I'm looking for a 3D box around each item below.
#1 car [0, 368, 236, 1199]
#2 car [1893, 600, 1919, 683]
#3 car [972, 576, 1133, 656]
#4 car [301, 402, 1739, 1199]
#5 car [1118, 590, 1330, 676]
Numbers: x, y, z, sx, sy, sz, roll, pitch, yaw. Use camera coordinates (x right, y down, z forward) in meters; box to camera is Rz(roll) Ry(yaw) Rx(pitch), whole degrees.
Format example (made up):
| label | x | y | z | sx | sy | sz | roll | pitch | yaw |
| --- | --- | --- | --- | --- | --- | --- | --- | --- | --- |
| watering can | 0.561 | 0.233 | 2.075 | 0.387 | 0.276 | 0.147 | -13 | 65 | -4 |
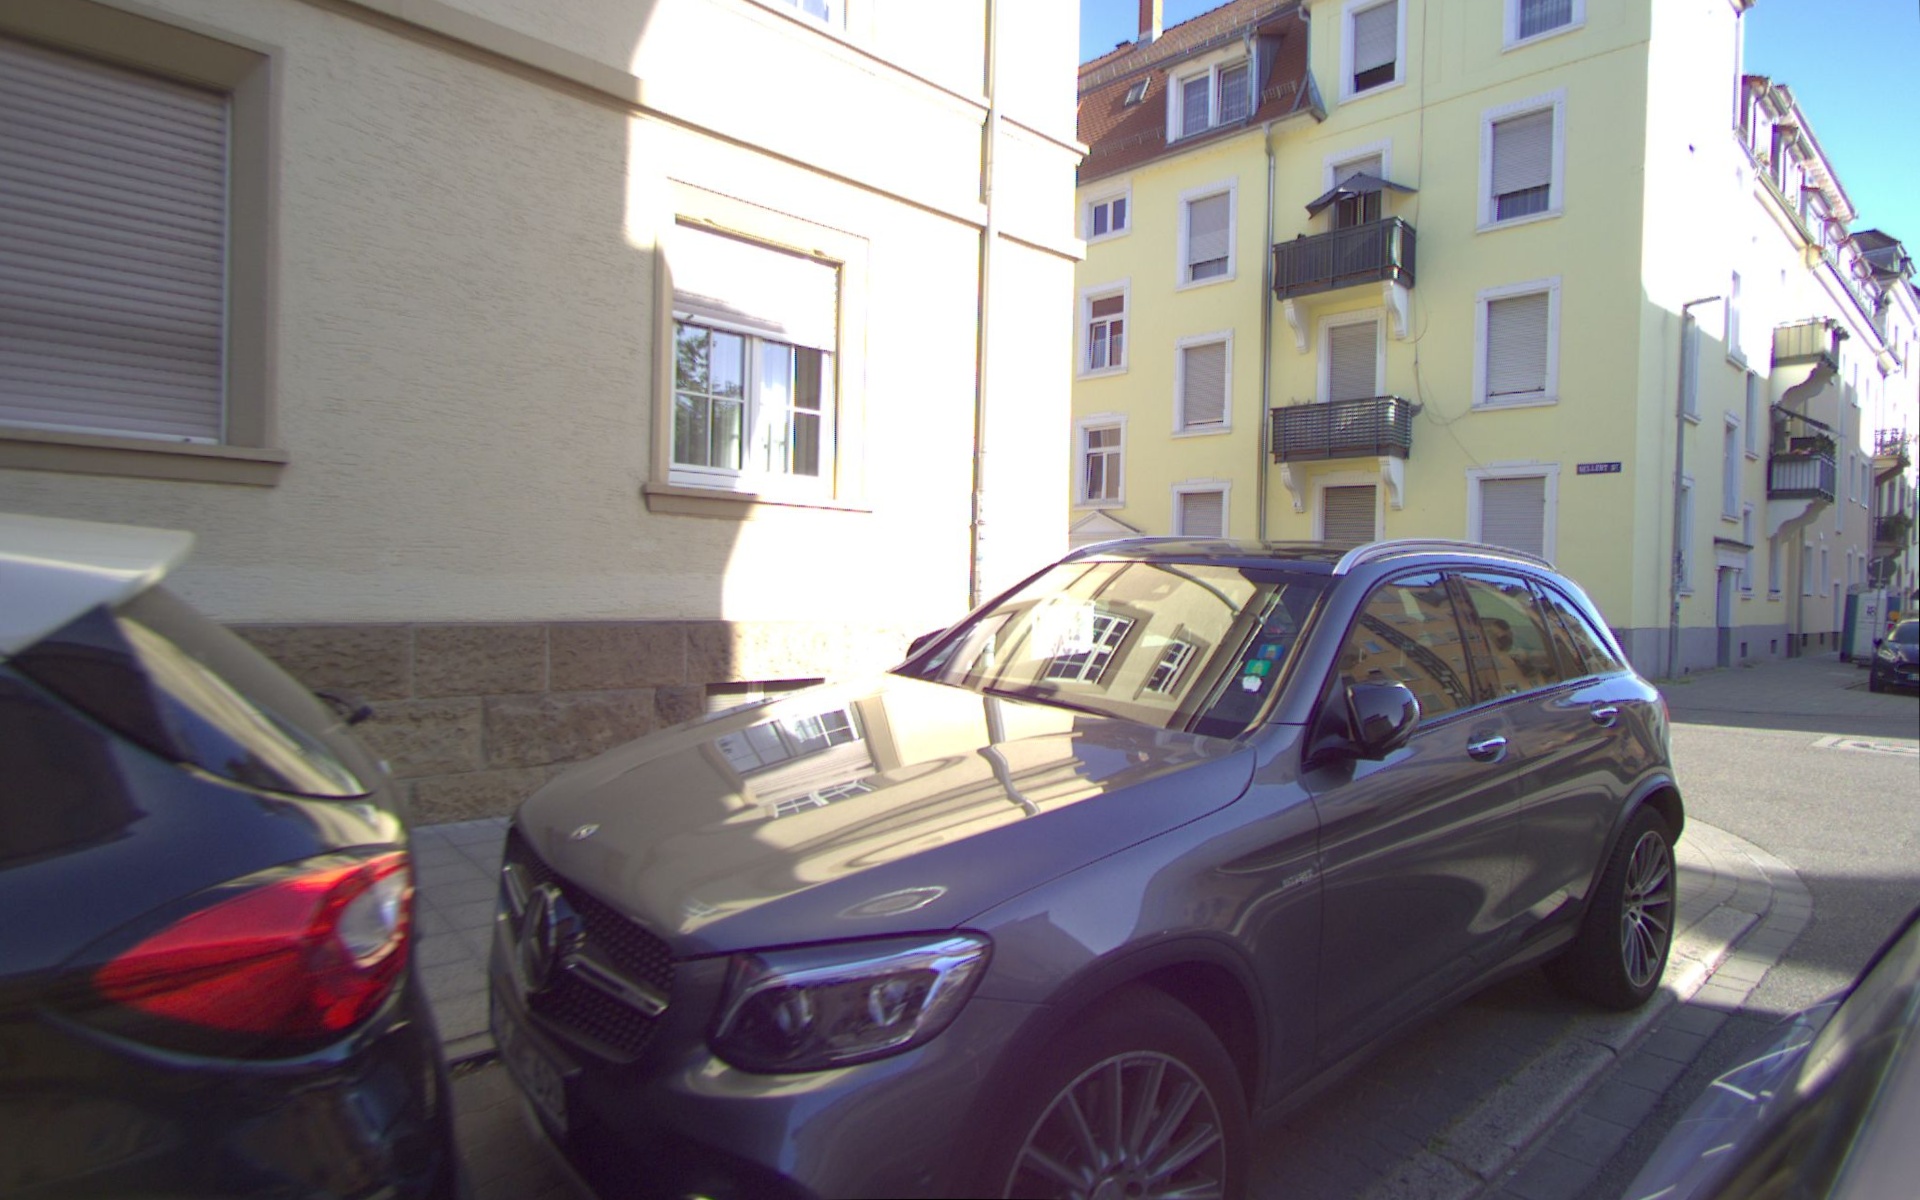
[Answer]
| label | x | y | z | sx | sy | sz | roll | pitch | yaw |
| --- | --- | --- | --- | --- | --- | --- | --- | --- | --- |
| car | -2.681 | 0.538 | 0.346 | 3.844 | 1.565 | 1.684 | 1 | 2 | -39 |
| car | 18.763 | 0.773 | 18.809 | 3.658 | 1.442 | 1.707 | 0 | 3 | -42 |
| car | 1.970 | 0.321 | 21.946 | 3.176 | 1.605 | 1.546 | 1 | -1 | 43 |
| car | 0.678 | 0.647 | 3.114 | 4.354 | 1.685 | 1.791 | 1 | 0 | -40 |
| car | 4.928 | 0.579 | 19.123 | 3.498 | 1.397 | 1.621 | 2 | -1 | 43 |
